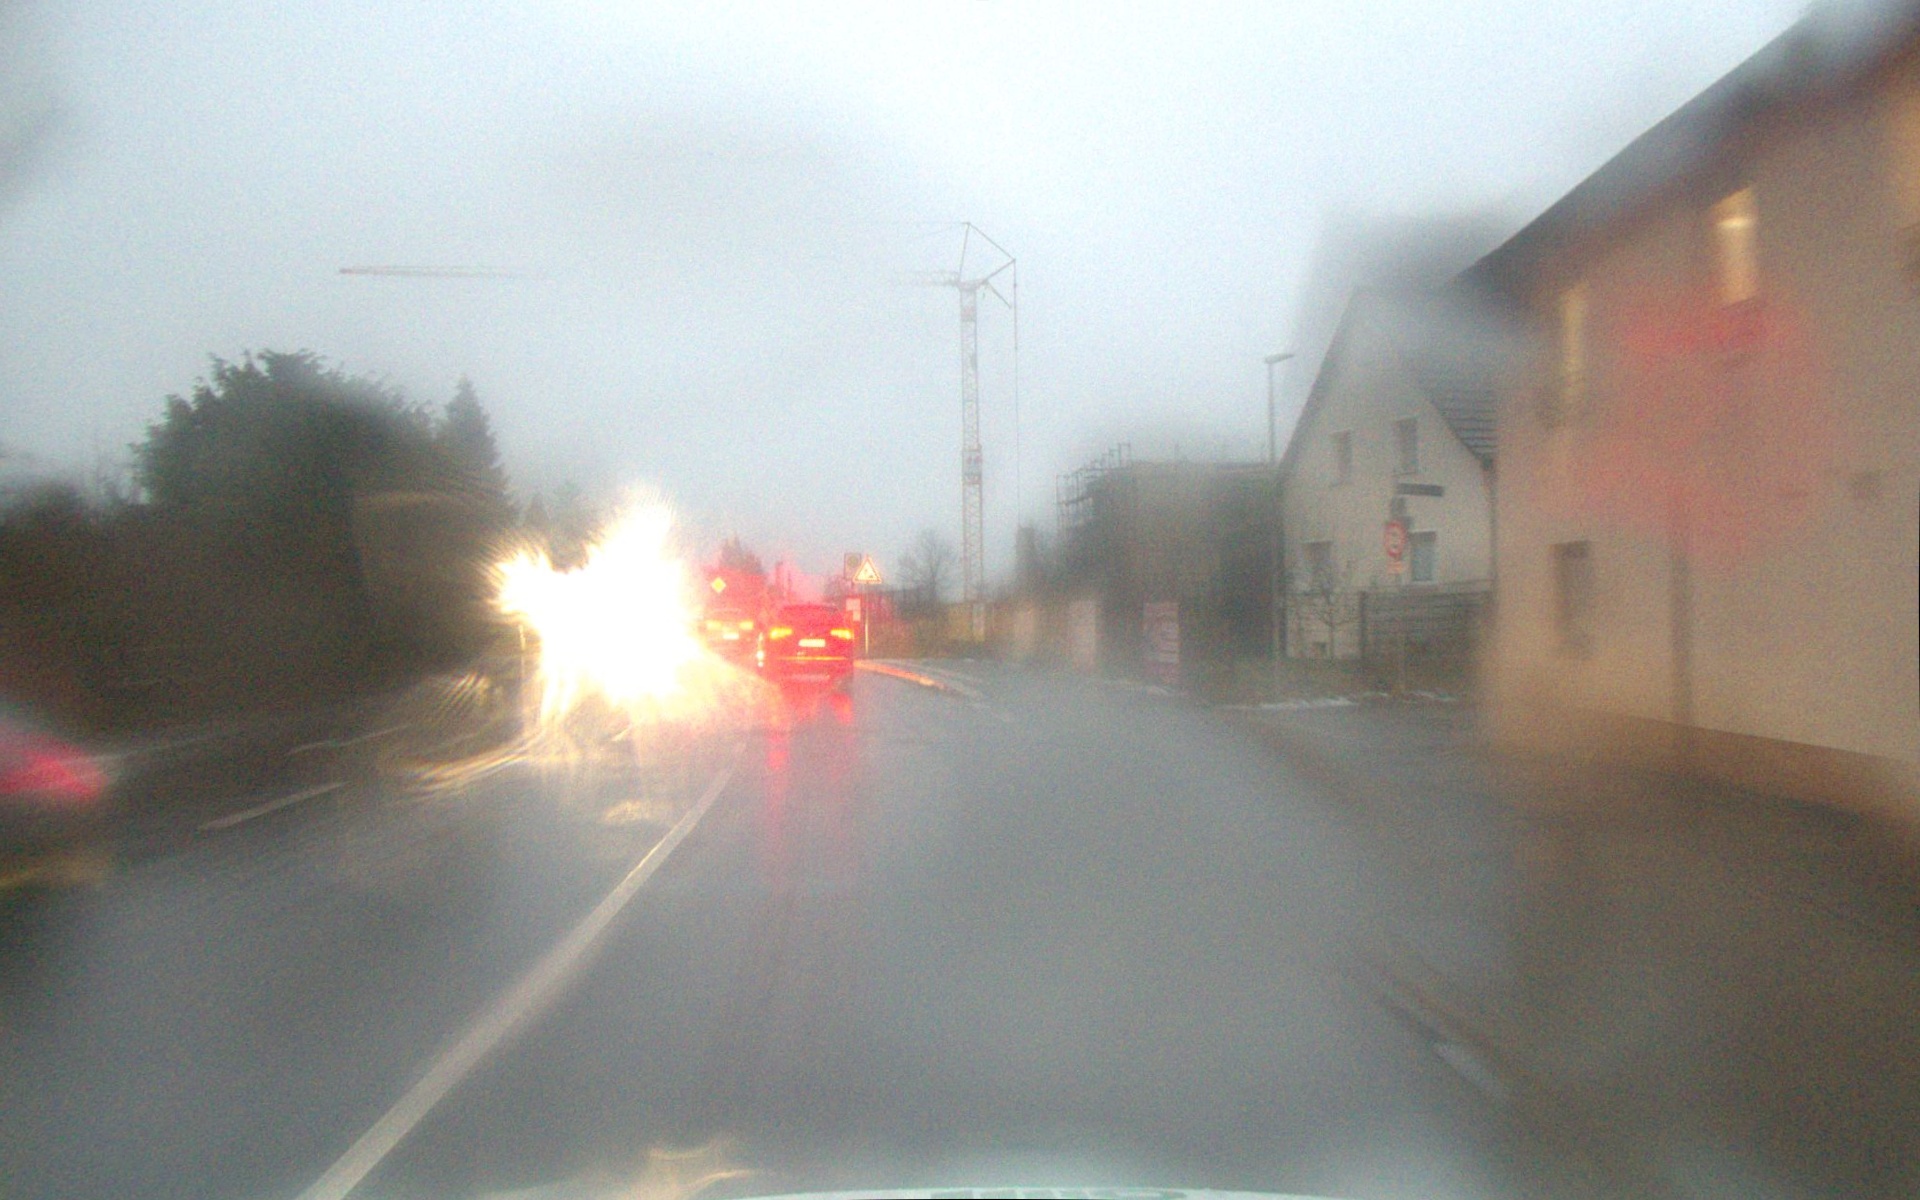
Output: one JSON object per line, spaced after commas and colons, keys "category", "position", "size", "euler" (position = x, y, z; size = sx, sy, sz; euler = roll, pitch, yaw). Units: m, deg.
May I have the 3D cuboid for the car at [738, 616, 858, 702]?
{"category": "car", "position": [-3.436, 1.186, 34.370], "size": [2.011, 1.600, 4.689], "euler": [-1, -1, -11]}

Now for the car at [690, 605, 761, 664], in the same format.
{"category": "car", "position": [-8.323, 1.202, 58.429], "size": [1.961, 1.914, 3.984], "euler": [-2, 0, -15]}

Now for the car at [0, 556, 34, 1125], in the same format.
{"category": "car", "position": [-3.600, 0.726, 2.674], "size": [1.838, 1.613, 4.288], "euler": [-2, 0, -2]}
